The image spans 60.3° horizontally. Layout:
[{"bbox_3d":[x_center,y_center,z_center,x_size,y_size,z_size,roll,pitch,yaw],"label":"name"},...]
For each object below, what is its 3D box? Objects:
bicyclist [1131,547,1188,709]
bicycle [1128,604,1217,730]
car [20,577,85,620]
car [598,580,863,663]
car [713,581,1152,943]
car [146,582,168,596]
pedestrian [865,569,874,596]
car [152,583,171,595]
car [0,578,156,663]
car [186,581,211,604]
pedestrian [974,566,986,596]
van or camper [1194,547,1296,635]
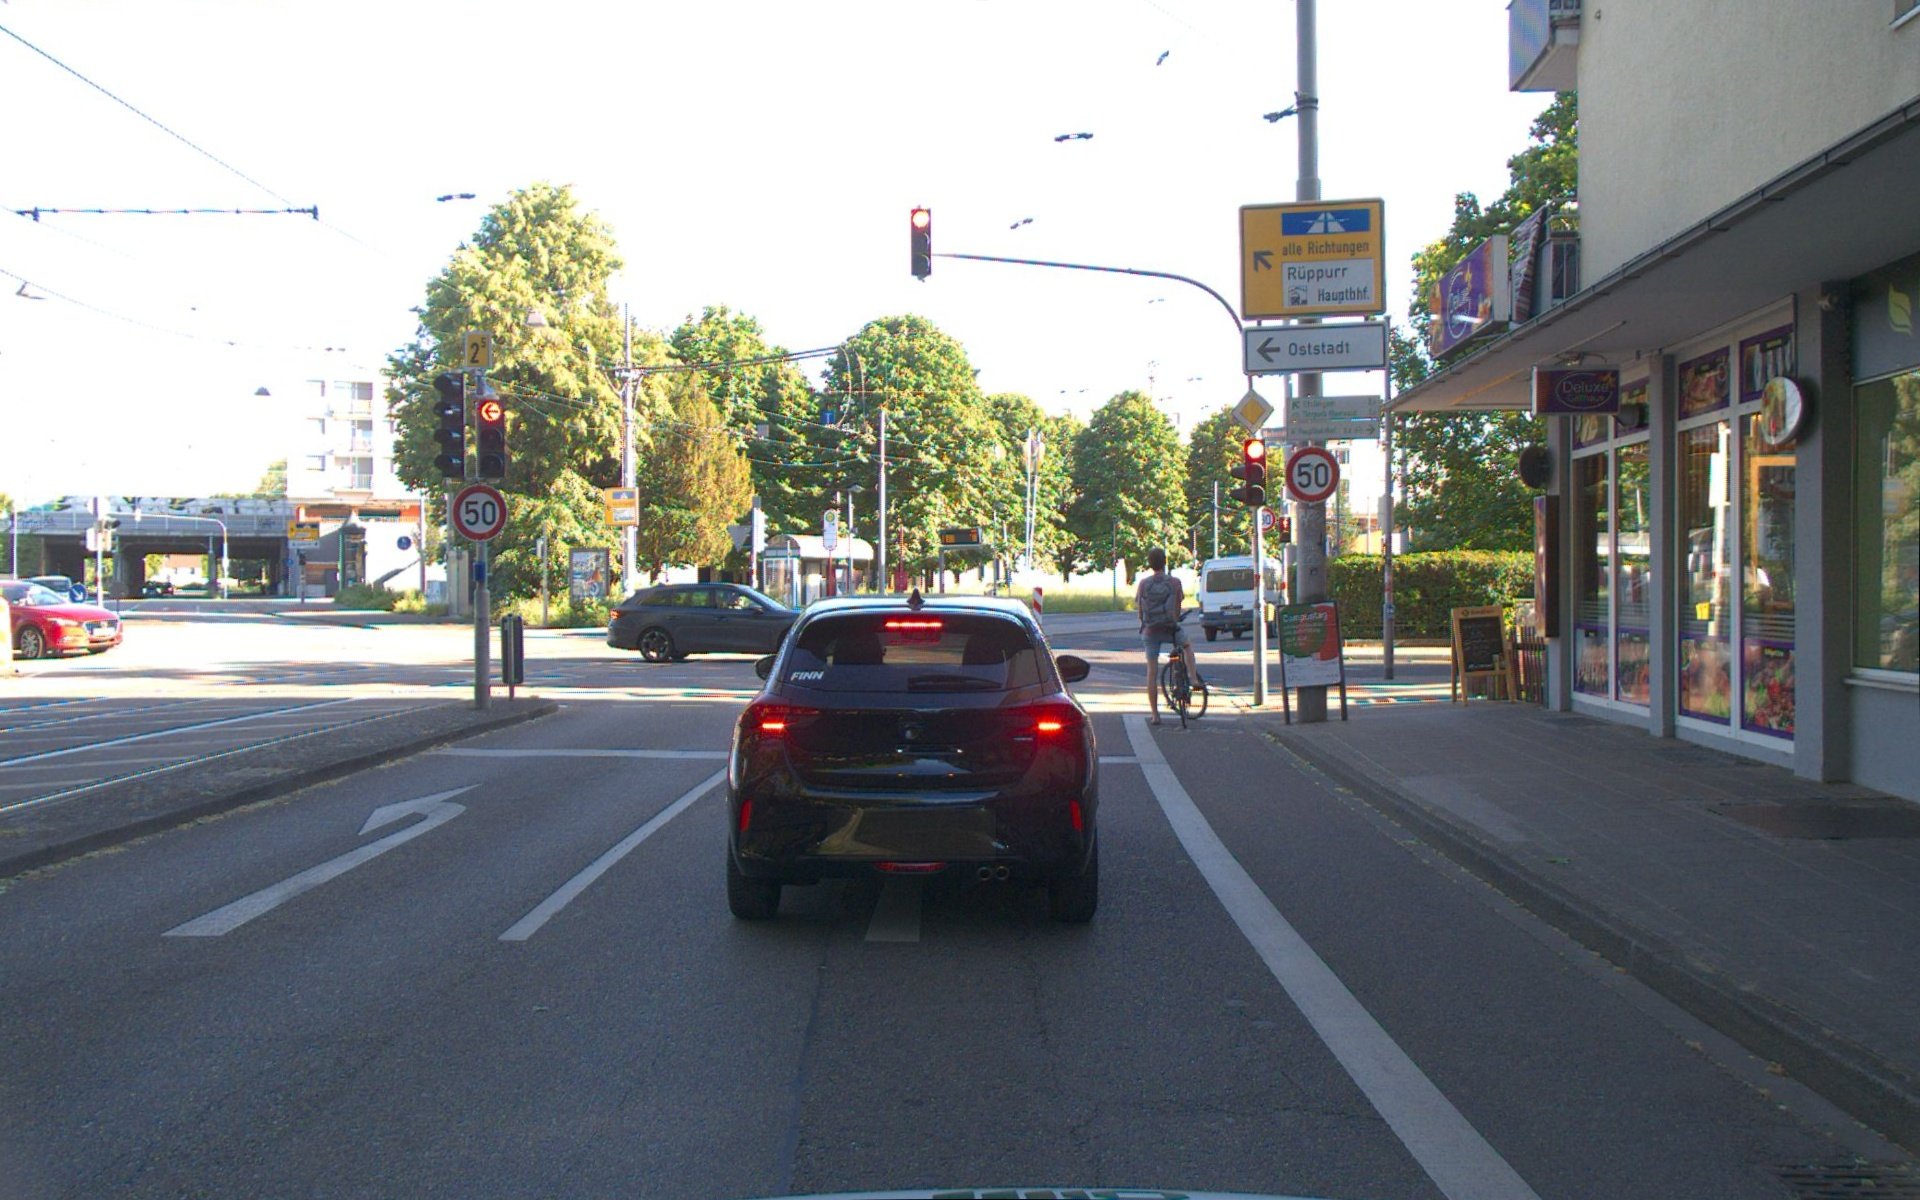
[{"bbox_3d":[2.154,0.293,17.824,0.522,1.722,0.568,0,0,16],"label":"bicyclist"},{"bbox_3d":[2.334,0.687,17.992,0.737,1.256,2.017,0,1,14],"label":"bicycle"},{"bbox_3d":[-35.654,-0.054,65.033,1.860,1.613,3.809,1,0,-24],"label":"car"},{"bbox_3d":[-4.266,0.381,31.169,4.626,1.499,1.941,0,1,4],"label":"car"},{"bbox_3d":[-0.140,0.648,8.808,1.803,1.487,3.983,0,1,-1],"label":"car"},{"bbox_3d":[-74.956,-1.067,154.374,1.562,1.282,3.394,-1,1,-30],"label":"car"},{"bbox_3d":[-6.642,-1.272,120.987,0.592,1.904,0.519,1,-1,-7],"label":"pedestrian"},{"bbox_3d":[-86.911,-1.153,180.027,1.562,1.282,3.394,-1,1,-30],"label":"car"},{"bbox_3d":[-18.476,0.369,32.673,4.381,1.592,2.024,0,1,14],"label":"car"},{"bbox_3d":[-59.253,-0.579,128.779,1.732,1.713,3.712,1,0,-25],"label":"car"},{"bbox_3d":[1.290,-1.194,106.212,0.597,1.904,0.514,1,-1,-29],"label":"pedestrian"},{"bbox_3d":[8.059,-0.230,46.397,1.987,2.351,4.540,1,0,20],"label":"van or camper"}]
